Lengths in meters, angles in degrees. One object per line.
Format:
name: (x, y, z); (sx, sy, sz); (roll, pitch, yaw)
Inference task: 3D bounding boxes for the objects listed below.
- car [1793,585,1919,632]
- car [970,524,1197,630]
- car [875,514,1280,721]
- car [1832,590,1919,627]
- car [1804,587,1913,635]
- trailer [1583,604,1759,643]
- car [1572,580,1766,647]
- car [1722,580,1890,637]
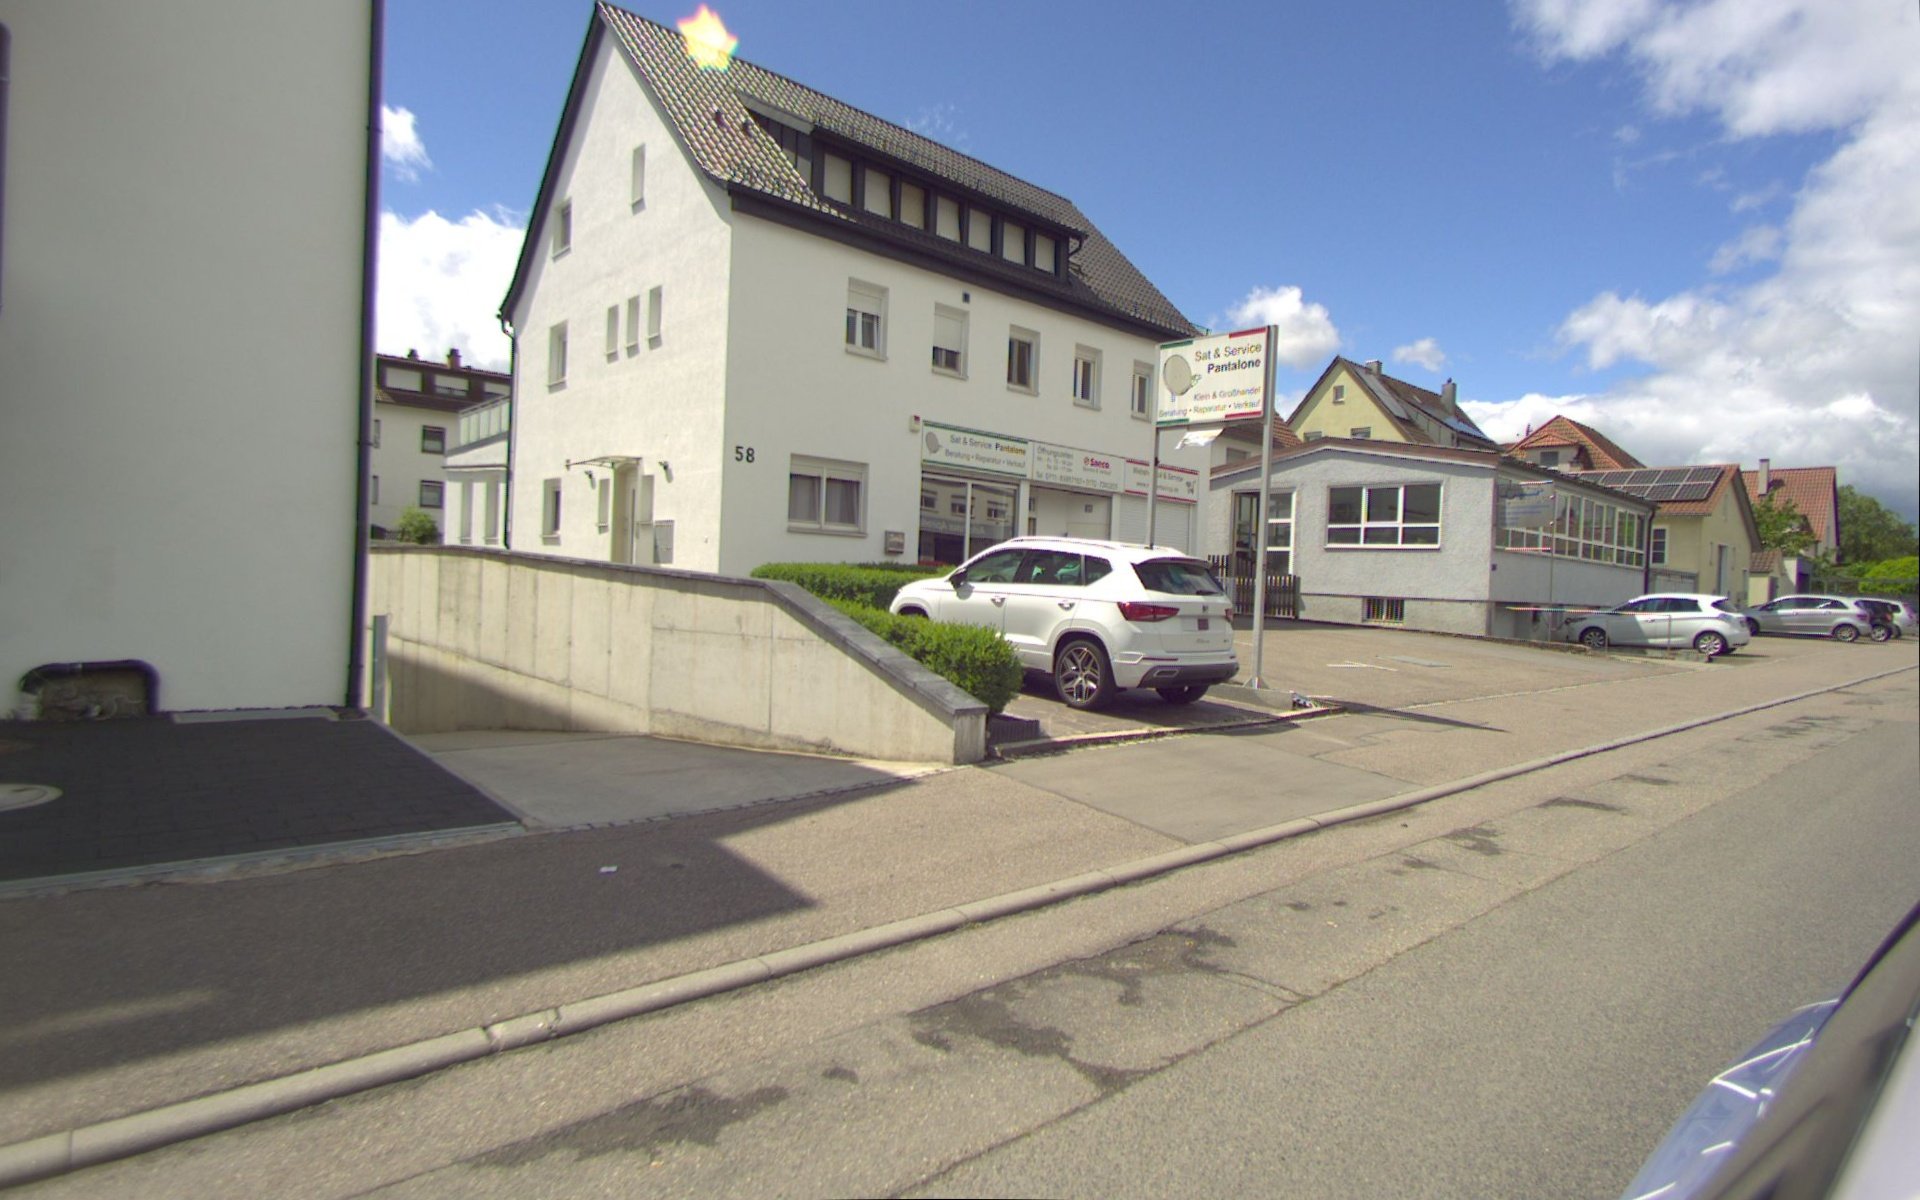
car: (37.207, 0.332, 41.510); (1.941, 1.543, 4.415); (1, 5, -43)
car: (2.173, -0.385, 17.517); (3.592, 1.537, 1.639); (3, 4, -33)
car: (1.071, 0.025, 11.053); (1.834, 1.673, 4.204); (1, 5, -40)
car: (43.359, 0.443, 46.749); (1.941, 1.423, 4.415); (1, 5, -43)
car: (34.595, 0.392, 38.999); (1.941, 1.543, 2.893); (1, 5, -43)
trailer: (20.193, 0.639, 28.848); (1.628, 0.818, 3.824); (1, 2, -41)
car: (18.607, 0.328, 26.667); (1.719, 1.629, 3.905); (1, 0, -41)
car: (30.660, 0.261, 36.770); (1.941, 1.627, 4.415); (1, 5, -43)
